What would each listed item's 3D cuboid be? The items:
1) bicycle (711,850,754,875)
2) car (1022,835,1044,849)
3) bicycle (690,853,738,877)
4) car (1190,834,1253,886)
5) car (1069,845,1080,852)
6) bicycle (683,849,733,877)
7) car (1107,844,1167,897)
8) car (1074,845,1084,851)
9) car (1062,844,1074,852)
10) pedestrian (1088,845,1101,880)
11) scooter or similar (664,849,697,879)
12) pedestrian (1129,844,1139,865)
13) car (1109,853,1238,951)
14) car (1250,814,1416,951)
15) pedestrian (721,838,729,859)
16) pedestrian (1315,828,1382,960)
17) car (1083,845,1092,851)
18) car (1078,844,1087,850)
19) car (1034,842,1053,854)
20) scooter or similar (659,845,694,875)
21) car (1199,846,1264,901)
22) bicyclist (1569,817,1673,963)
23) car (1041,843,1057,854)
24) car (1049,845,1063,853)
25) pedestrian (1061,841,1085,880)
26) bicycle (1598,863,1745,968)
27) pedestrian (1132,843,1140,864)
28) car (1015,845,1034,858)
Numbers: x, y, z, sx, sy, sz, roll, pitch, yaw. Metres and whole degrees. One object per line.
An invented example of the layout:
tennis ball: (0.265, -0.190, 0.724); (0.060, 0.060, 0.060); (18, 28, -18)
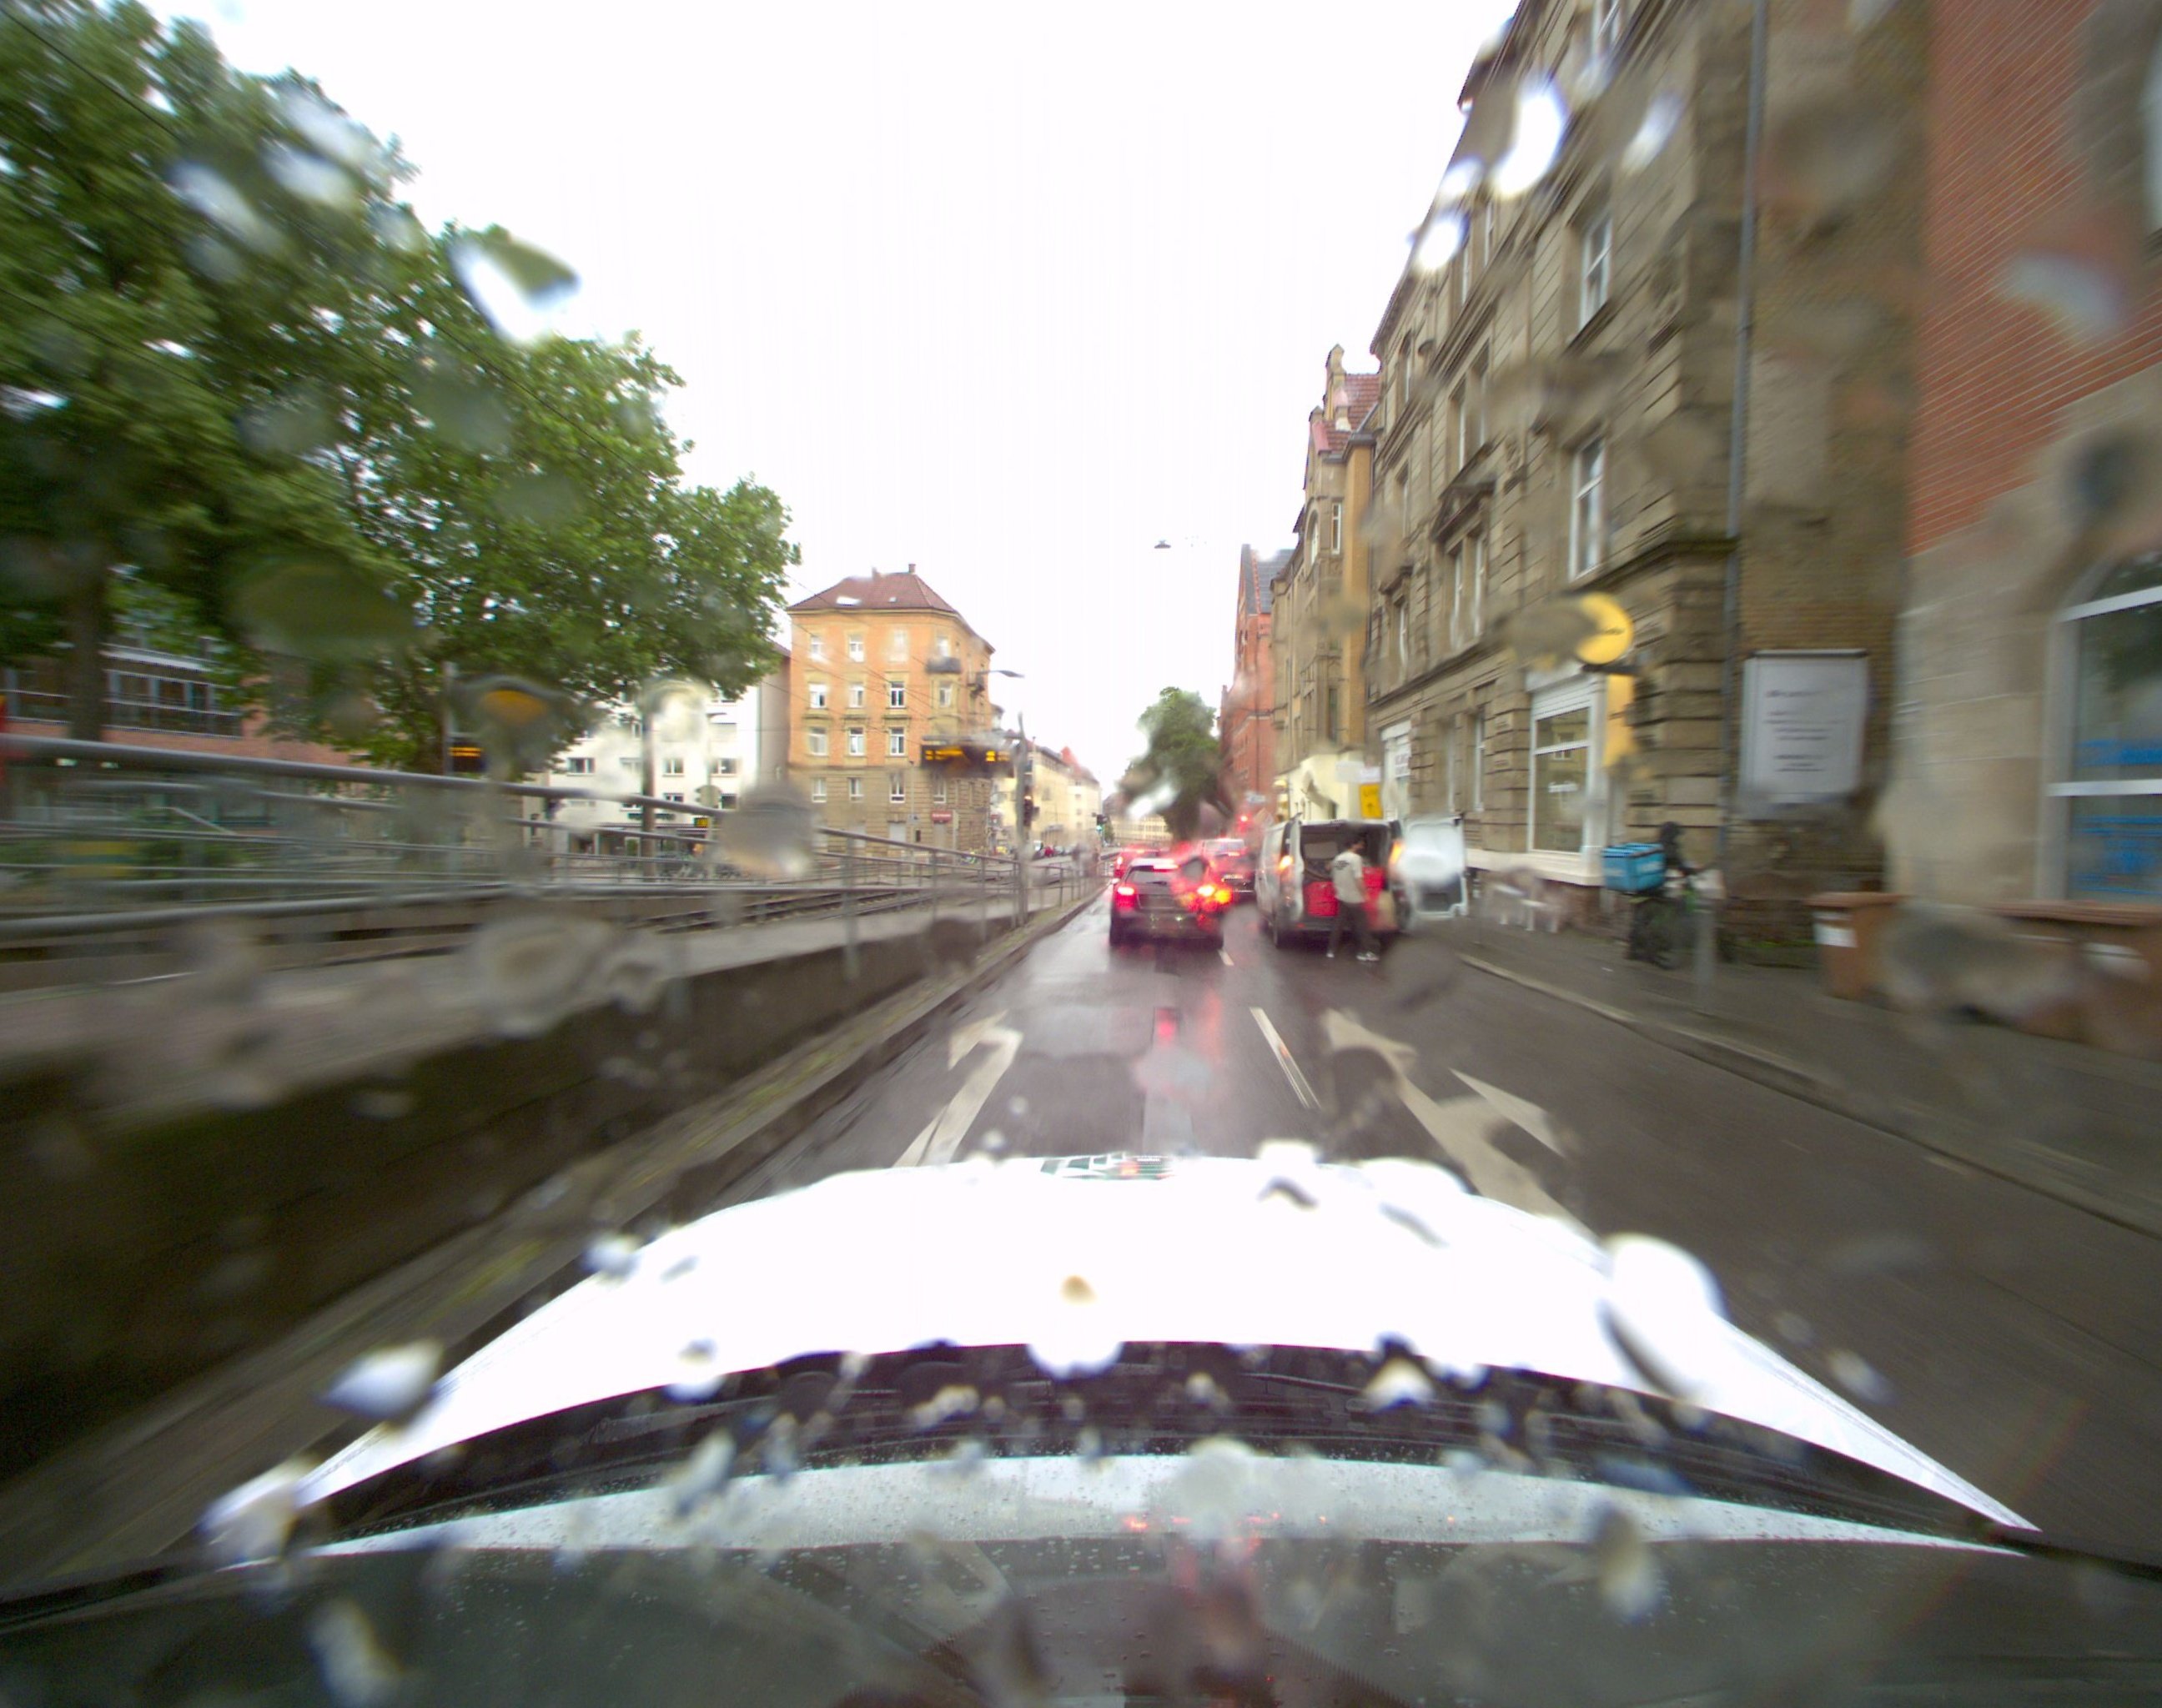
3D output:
bicycle: (-16.306, 0.388, 38.107); (1.764, 1.142, 0.517); (1, 0, -6)
car: (-5.412, -1.310, 92.031); (1.777, 1.530, 4.470); (1, 1, 6)
bicycle: (-16.152, 0.485, 35.860); (1.868, 1.061, 0.517); (1, 0, -6)
car: (5.324, 0.187, 31.354); (1.925, 1.831, 4.285); (1, 1, 3)
car: (-1.112, -0.963, 135.839); (1.388, 1.171, 3.167); (1, 1, 6)
bicycle: (-15.946, 0.375, 34.862); (1.868, 1.195, 0.517); (1, 0, -6)
car: (1.695, 0.432, 24.743); (1.672, 1.489, 3.617); (0, 1, 4)
car: (-0.263, -1.048, 142.377); (1.388, 1.171, 3.167); (1, 1, 6)
car: (-1.995, -0.886, 124.659); (1.388, 1.171, 3.167); (1, 1, 6)
pedestrian: (0.605, 0.379, 36.077); (0.530, 1.530, 0.436); (1, 0, -2)
scooter or similar: (-16.181, 0.392, 32.917); (0.357, 1.195, 1.119); (1, 0, 45)
pedestrian: (4.157, 0.022, 63.925); (0.674, 1.661, 0.678); (0, 0, 12)
car: (1.589, 0.704, 14.046); (1.885, 1.390, 4.008); (1, 1, 7)
car: (4.081, 0.390, 13.990); (1.911, 1.936, 4.694); (1, 0, 7)
pedestrian: (-27.798, -0.463, 63.609); (0.520, 1.622, 0.481); (1, 0, -34)
pedestrian: (3.744, 0.530, 11.366); (0.678, 1.753, 0.841); (0, 0, 34)
car: (1.347, -1.301, 164.033); (1.388, 1.171, 3.167); (1, 1, 6)
car: (0.264, -1.294, 151.496); (1.388, 1.171, 3.167); (1, 1, 6)
car: (-4.500, -0.697, 98.805); (1.672, 1.356, 3.709); (1, 1, 6)
scooter or similar: (-16.555, 0.249, 33.321); (0.296, 1.195, 1.259); (1, 0, 45)
car: (4.487, 0.503, 24.152); (1.702, 1.469, 4.294); (1, 1, 11)
bicyclist: (6.388, 0.401, 9.650); (0.849, 1.657, 0.628); (-1, 0, -17)
car: (-4.062, -0.704, 102.862); (1.492, 1.356, 3.167); (1, 1, 6)
car: (-3.404, -0.711, 111.349); (1.430, 1.106, 3.167); (1, 1, 6)
pedestrian: (-0.365, 0.271, 36.240); (0.744, 1.724, 0.733); (1, 0, -38)
bicycle: (6.797, 0.672, 9.365); (1.688, 1.115, 0.462); (-1, 0, -18)
pedestrian: (4.400, -0.009, 65.284); (0.515, 1.665, 0.478); (2, 1, 9)
car: (-5.942, -0.297, 85.694); (1.445, 1.318, 3.300); (2, 1, 5)
